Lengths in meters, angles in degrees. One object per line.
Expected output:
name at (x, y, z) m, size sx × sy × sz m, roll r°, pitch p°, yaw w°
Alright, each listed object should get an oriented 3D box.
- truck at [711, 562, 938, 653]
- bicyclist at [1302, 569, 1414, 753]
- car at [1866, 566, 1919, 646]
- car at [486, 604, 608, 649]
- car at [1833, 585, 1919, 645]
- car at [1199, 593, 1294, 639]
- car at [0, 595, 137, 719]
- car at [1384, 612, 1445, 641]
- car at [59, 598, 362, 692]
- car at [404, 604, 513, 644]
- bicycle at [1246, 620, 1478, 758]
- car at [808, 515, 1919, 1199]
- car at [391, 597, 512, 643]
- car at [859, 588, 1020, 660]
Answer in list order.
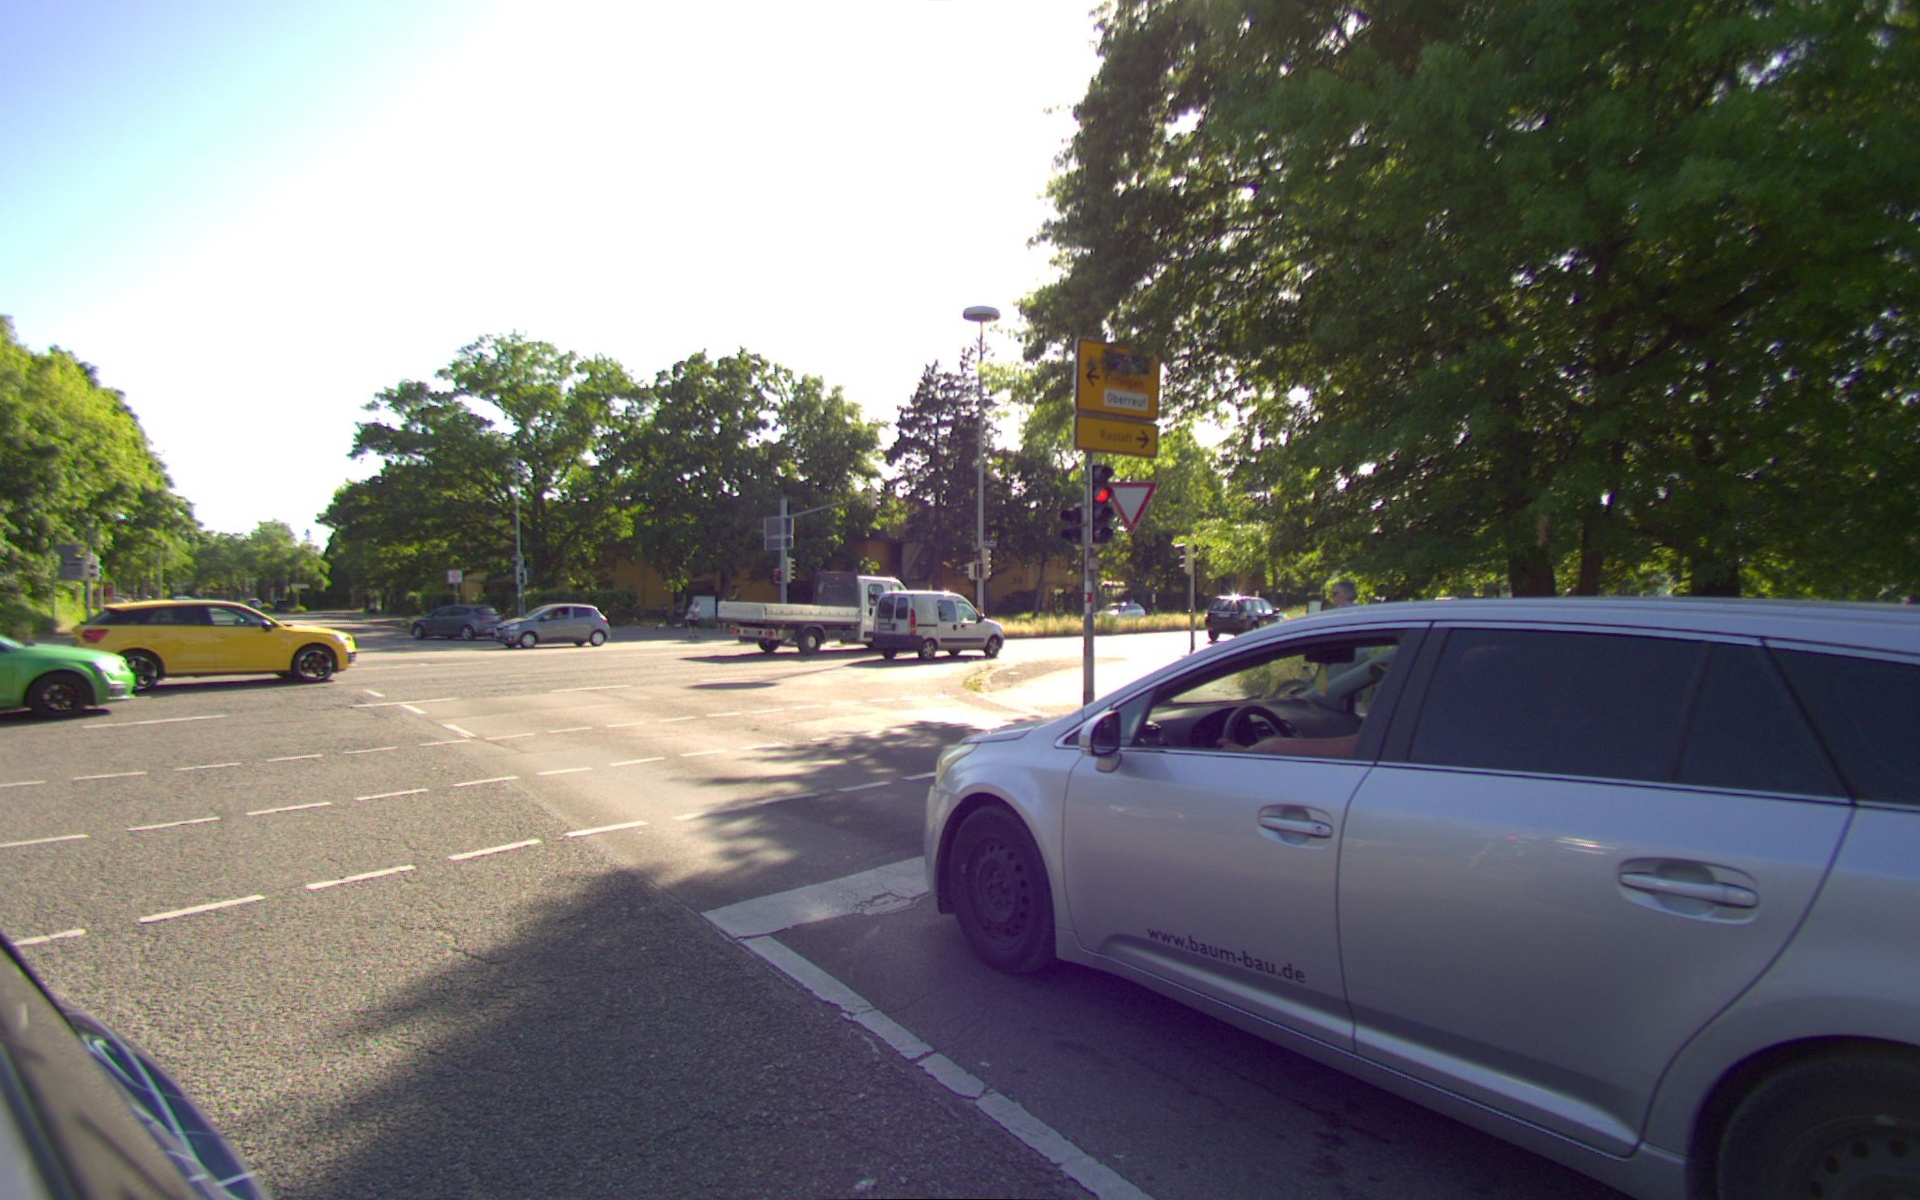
truck at (-3.696, 0.207, 29.049) m, size 2.191 × 2.327 × 6.681 m, roll -1°, pitch -1°, yaw 41°
bicyclist at (3.760, 0.547, 9.574) m, size 0.534 × 1.654 × 0.831 m, roll 0°, pitch -1°, yaw -41°
car at (27.731, 0.238, 26.668) m, size 5.653 × 2.115 × 1.972 m, roll 3°, pitch 1°, yaw 42°
car at (-14.179, 0.879, 34.855) m, size 1.553 × 1.443 × 3.546 m, roll 0°, pitch 0°, yaw 43°
car at (23.157, 0.391, 23.469) m, size 3.974 × 1.345 × 1.785 m, roll 2°, pitch 1°, yaw 23°
car at (11.356, 0.607, 39.887) m, size 1.828 × 1.696 × 4.329 m, roll 1°, pitch 0°, yaw 43°
car at (-13.294, 0.709, 12.785) m, size 1.921 × 1.497 × 4.302 m, roll 3°, pitch 1°, yaw 44°
car at (24.842, 1.422, 55.289) m, size 1.842 × 1.405 × 4.305 m, roll 3°, pitch 1°, yaw 41°
car at (-13.162, 0.720, 17.962) m, size 1.693 × 1.451 × 4.063 m, roll 1°, pitch 0°, yaw 42°
car at (-20.407, 0.944, 41.217) m, size 3.856 × 1.409 × 1.632 m, roll 2°, pitch 1°, yaw 16°
bicycle at (3.741, 0.780, 9.586) m, size 0.520 × 1.150 × 2.029 m, roll 0°, pitch -1°, yaw -41°
car at (1.504, 0.622, 3.377) m, size 1.813 × 1.500 × 4.900 m, roll 1°, pitch -1°, yaw -38°
car at (-20.551, 0.791, 40.983) m, size 4.057 × 1.665 × 1.804 m, roll 2°, pitch 1°, yaw 8°
car at (-0.468, 0.597, 27.259) m, size 1.920 × 1.741 × 4.305 m, roll 3°, pitch 1°, yaw 41°
